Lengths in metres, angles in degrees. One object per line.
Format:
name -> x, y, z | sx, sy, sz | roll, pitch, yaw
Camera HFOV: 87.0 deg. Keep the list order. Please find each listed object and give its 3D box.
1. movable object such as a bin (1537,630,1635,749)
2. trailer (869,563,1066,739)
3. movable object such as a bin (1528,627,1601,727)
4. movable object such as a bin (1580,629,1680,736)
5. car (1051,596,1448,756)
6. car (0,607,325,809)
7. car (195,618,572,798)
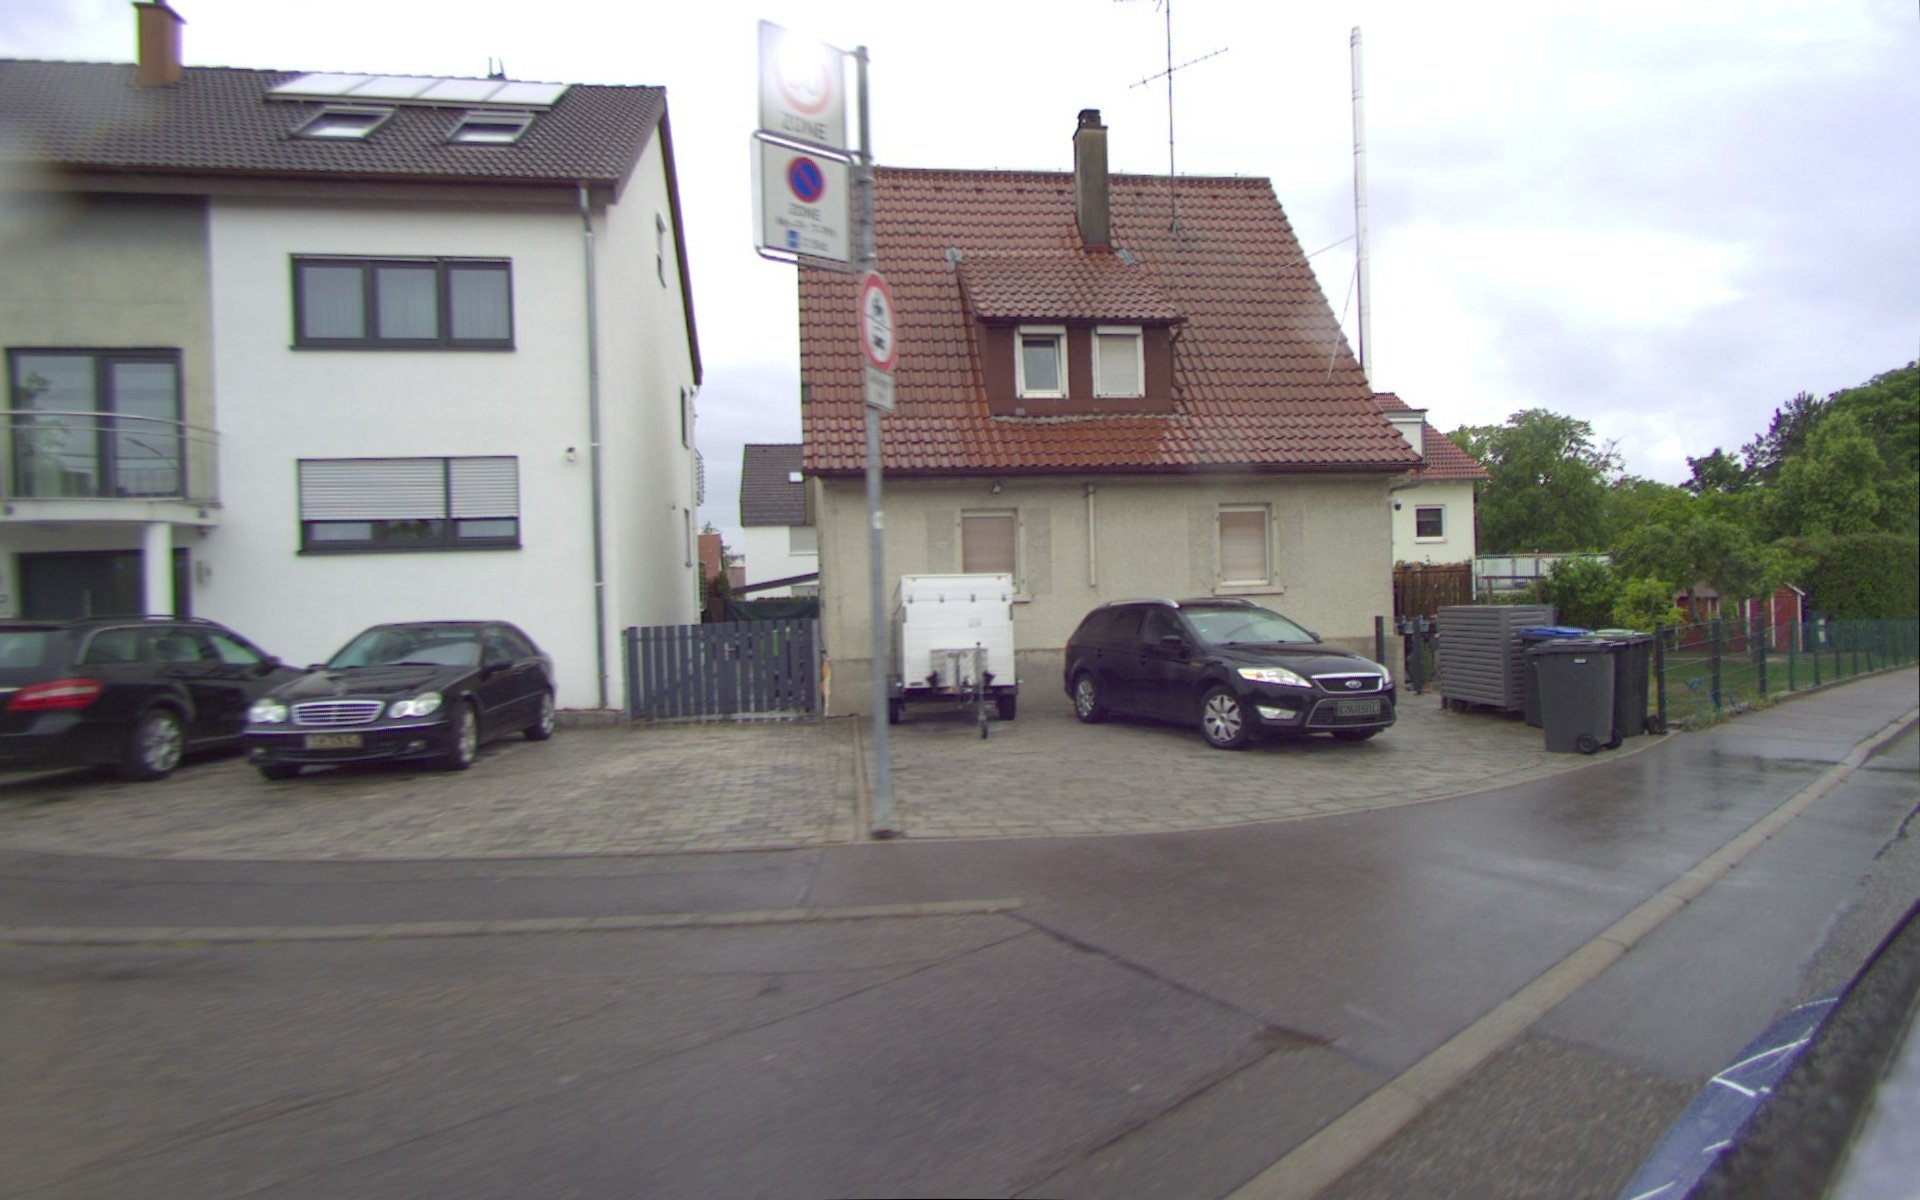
movable object such as a bin -> 5.914, 0.824, 9.569 | 0.530, 1.034, 0.629 | 1, 1, -36
trailer -> -0.056, 0.548, 12.510 | 1.653, 1.821, 3.469 | -1, -1, -13
movable object such as a bin -> 6.525, 0.818, 10.931 | 0.513, 1.034, 0.445 | 1, 0, -22
movable object such as a bin -> 6.900, 0.828, 10.430 | 0.718, 1.034, 0.532 | 1, 0, -22
car -> 2.884, 0.717, 11.345 | 1.958, 1.402, 4.580 | 0, -1, -20
car -> -8.175, 0.908, 9.851 | 1.835, 1.482, 4.006 | -4, 1, -8
car -> -5.452, 0.895, 10.311 | 1.749, 1.340, 4.405 | -2, 0, -7
